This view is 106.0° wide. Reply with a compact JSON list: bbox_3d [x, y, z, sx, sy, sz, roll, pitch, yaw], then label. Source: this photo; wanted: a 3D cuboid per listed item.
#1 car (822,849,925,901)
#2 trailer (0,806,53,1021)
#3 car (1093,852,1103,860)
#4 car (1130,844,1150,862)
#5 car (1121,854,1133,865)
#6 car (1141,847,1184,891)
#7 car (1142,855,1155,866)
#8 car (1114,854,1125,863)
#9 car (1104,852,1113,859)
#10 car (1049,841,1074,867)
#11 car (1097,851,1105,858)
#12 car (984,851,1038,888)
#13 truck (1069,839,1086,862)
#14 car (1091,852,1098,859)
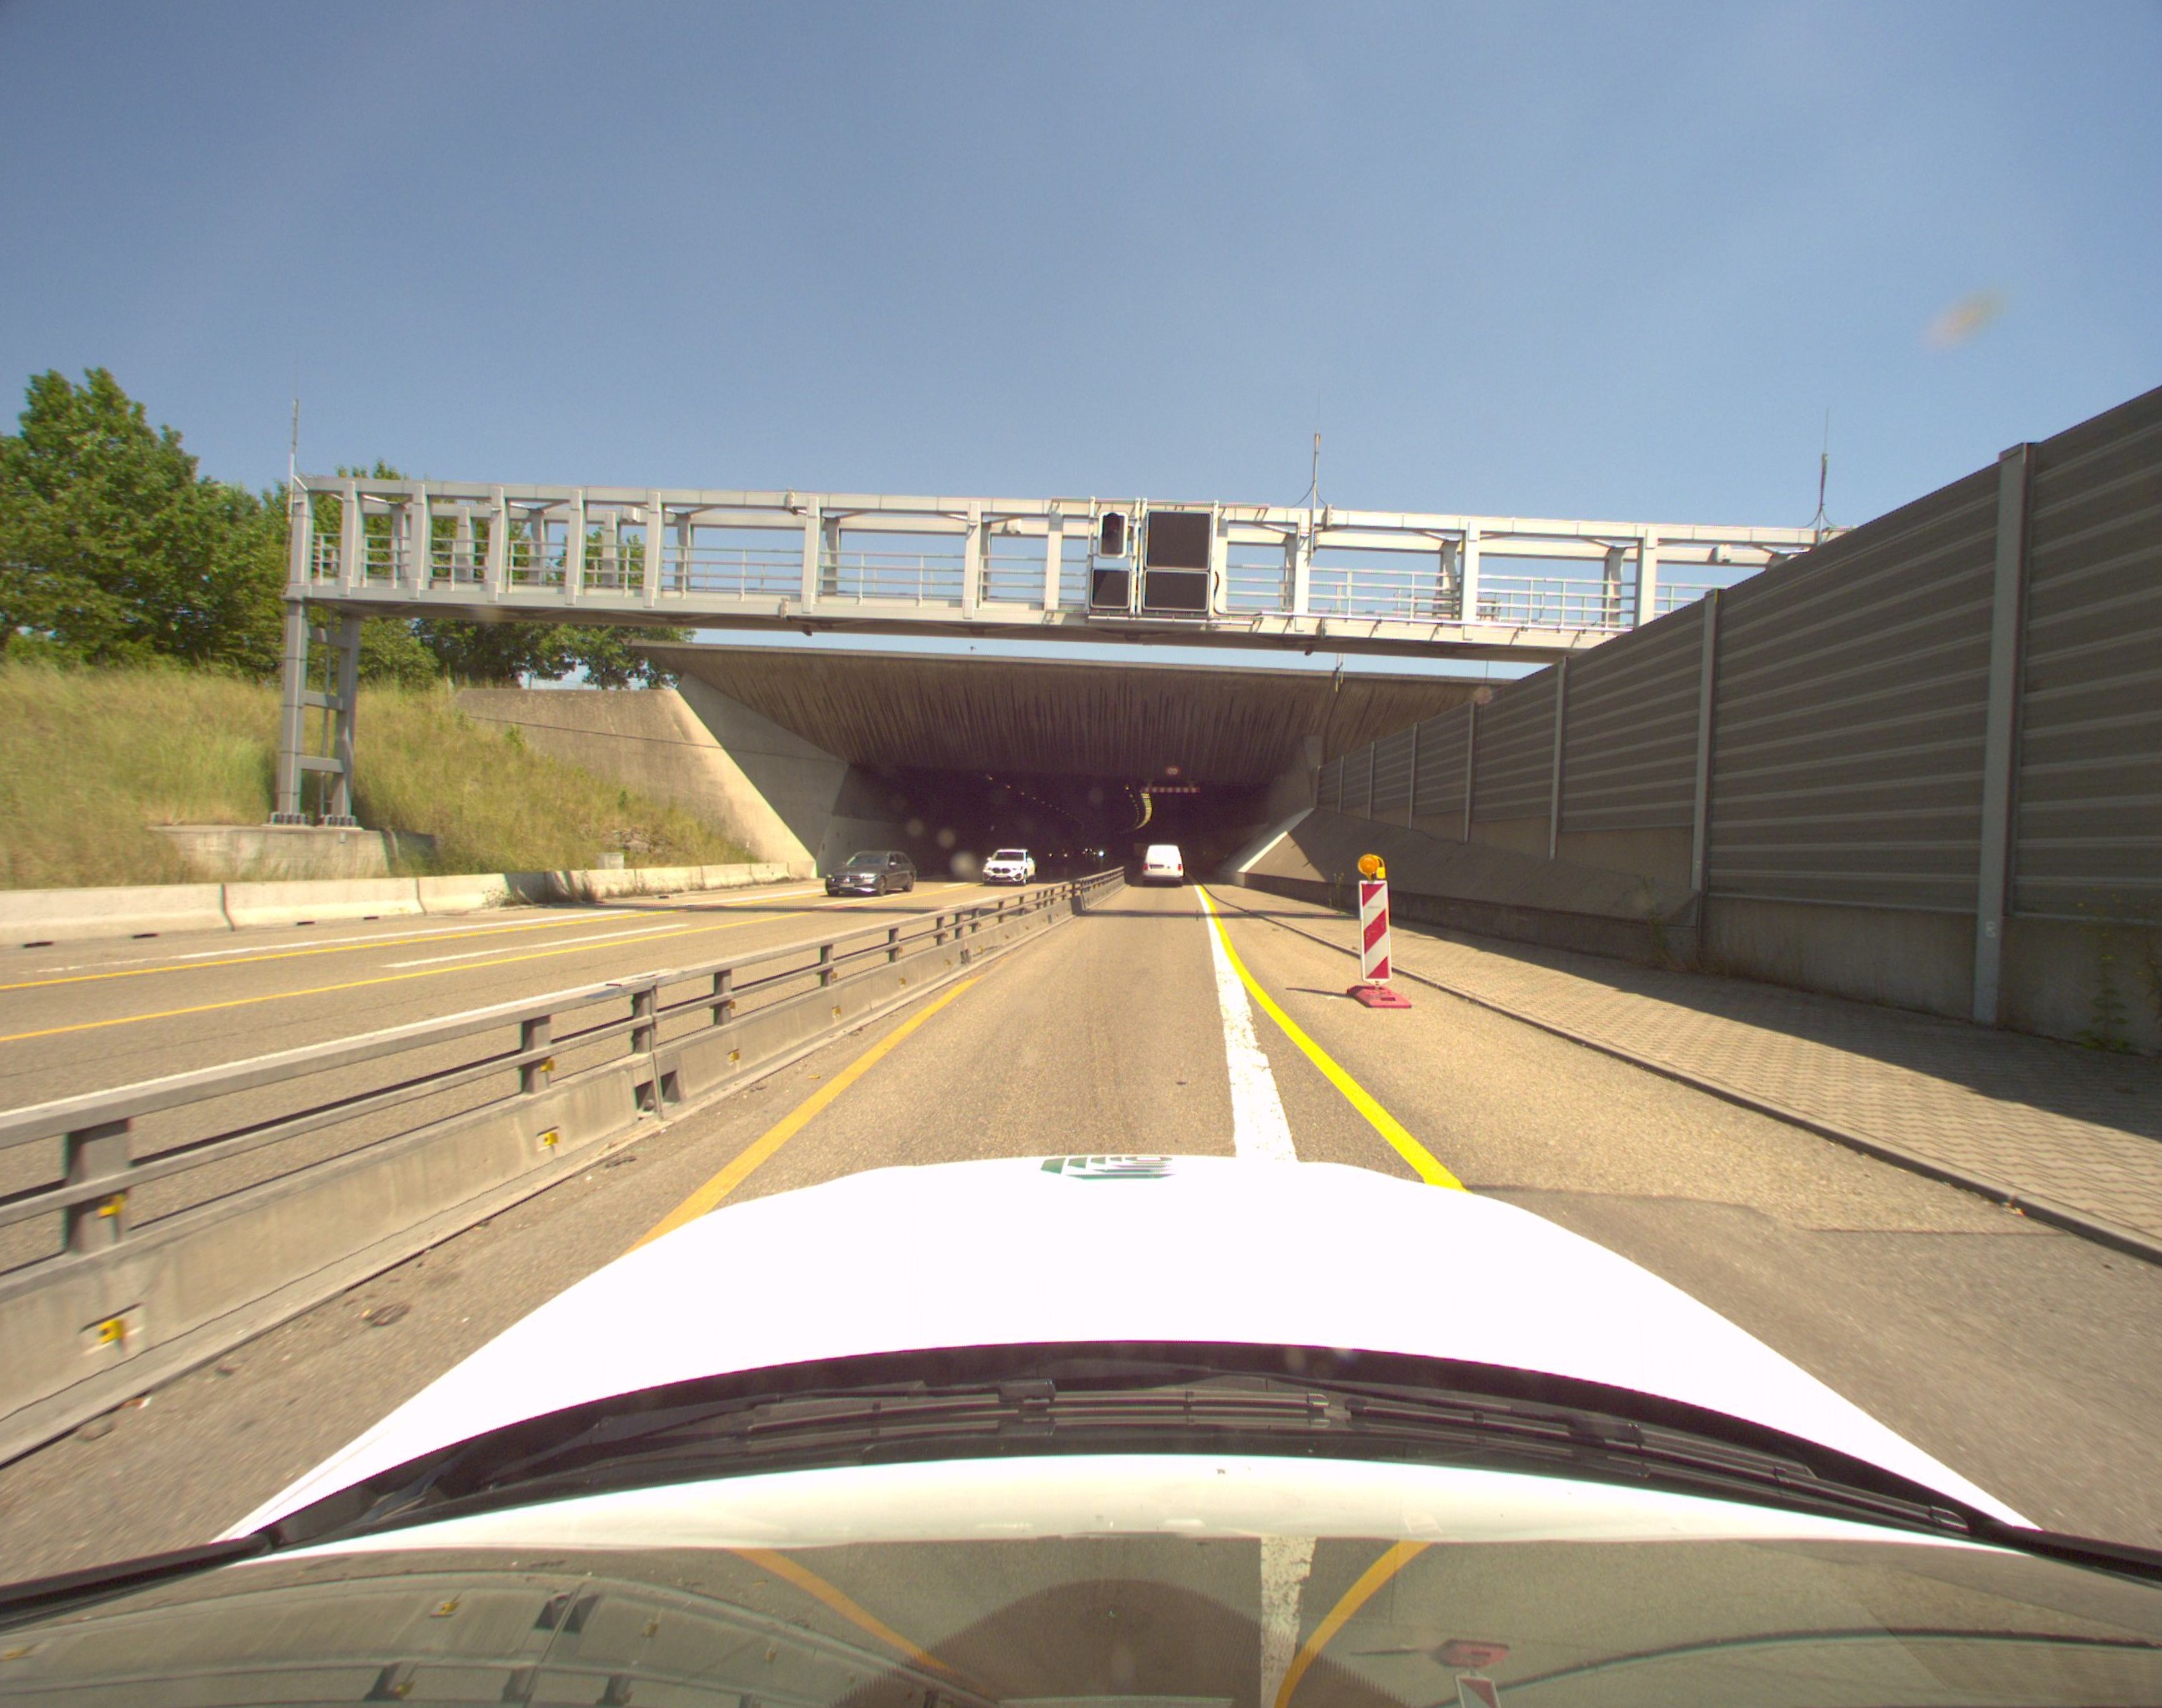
[{"bbox_3d":[-7.162,0.663,28.663,1.763,1.666,4.818,0,0,8],"label":"car"},{"bbox_3d":[-10.362,0.499,4.510,1.935,1.805,5.535,0,0,8],"label":"trailer"},{"bbox_3d":[3.070,0.418,147.817,1.815,1.456,4.093,0,0,0],"label":"car"},{"bbox_3d":[9.460,-0.122,130.965,2.805,2.773,7.100,1,0,0],"label":"car"},{"bbox_3d":[9.384,1.055,167.183,2.030,2.021,4.628,5,0,-2],"label":"car"},{"bbox_3d":[3.699,0.669,36.893,1.799,1.794,3.737,2,-1,6],"label":"car"},{"bbox_3d":[9.185,0.850,111.074,1.593,1.546,3.677,0,0,0],"label":"car"},{"bbox_3d":[8.619,1.042,182.681,1.936,2.021,4.656,1,0,-4],"label":"car"},{"bbox_3d":[7.201,0.406,216.022,1.936,2.021,4.656,0,0,-4],"label":"car"},{"bbox_3d":[-1.898,-0.004,80.377,1.985,2.515,6.048,0,0,4],"label":"car"},{"bbox_3d":[5.911,0.176,239.858,2.069,2.021,4.656,0,0,-4],"label":"car"},{"bbox_3d":[-3.095,0.653,36.796,1.766,1.577,4.451,0,0,4],"label":"car"},{"bbox_3d":[-0.613,-0.592,141.328,2.800,3.915,6.457,0,0,1],"label":"truck"},{"bbox_3d":[4.306,0.455,262.509,2.069,2.021,4.656,0,0,-4],"label":"car"}]
